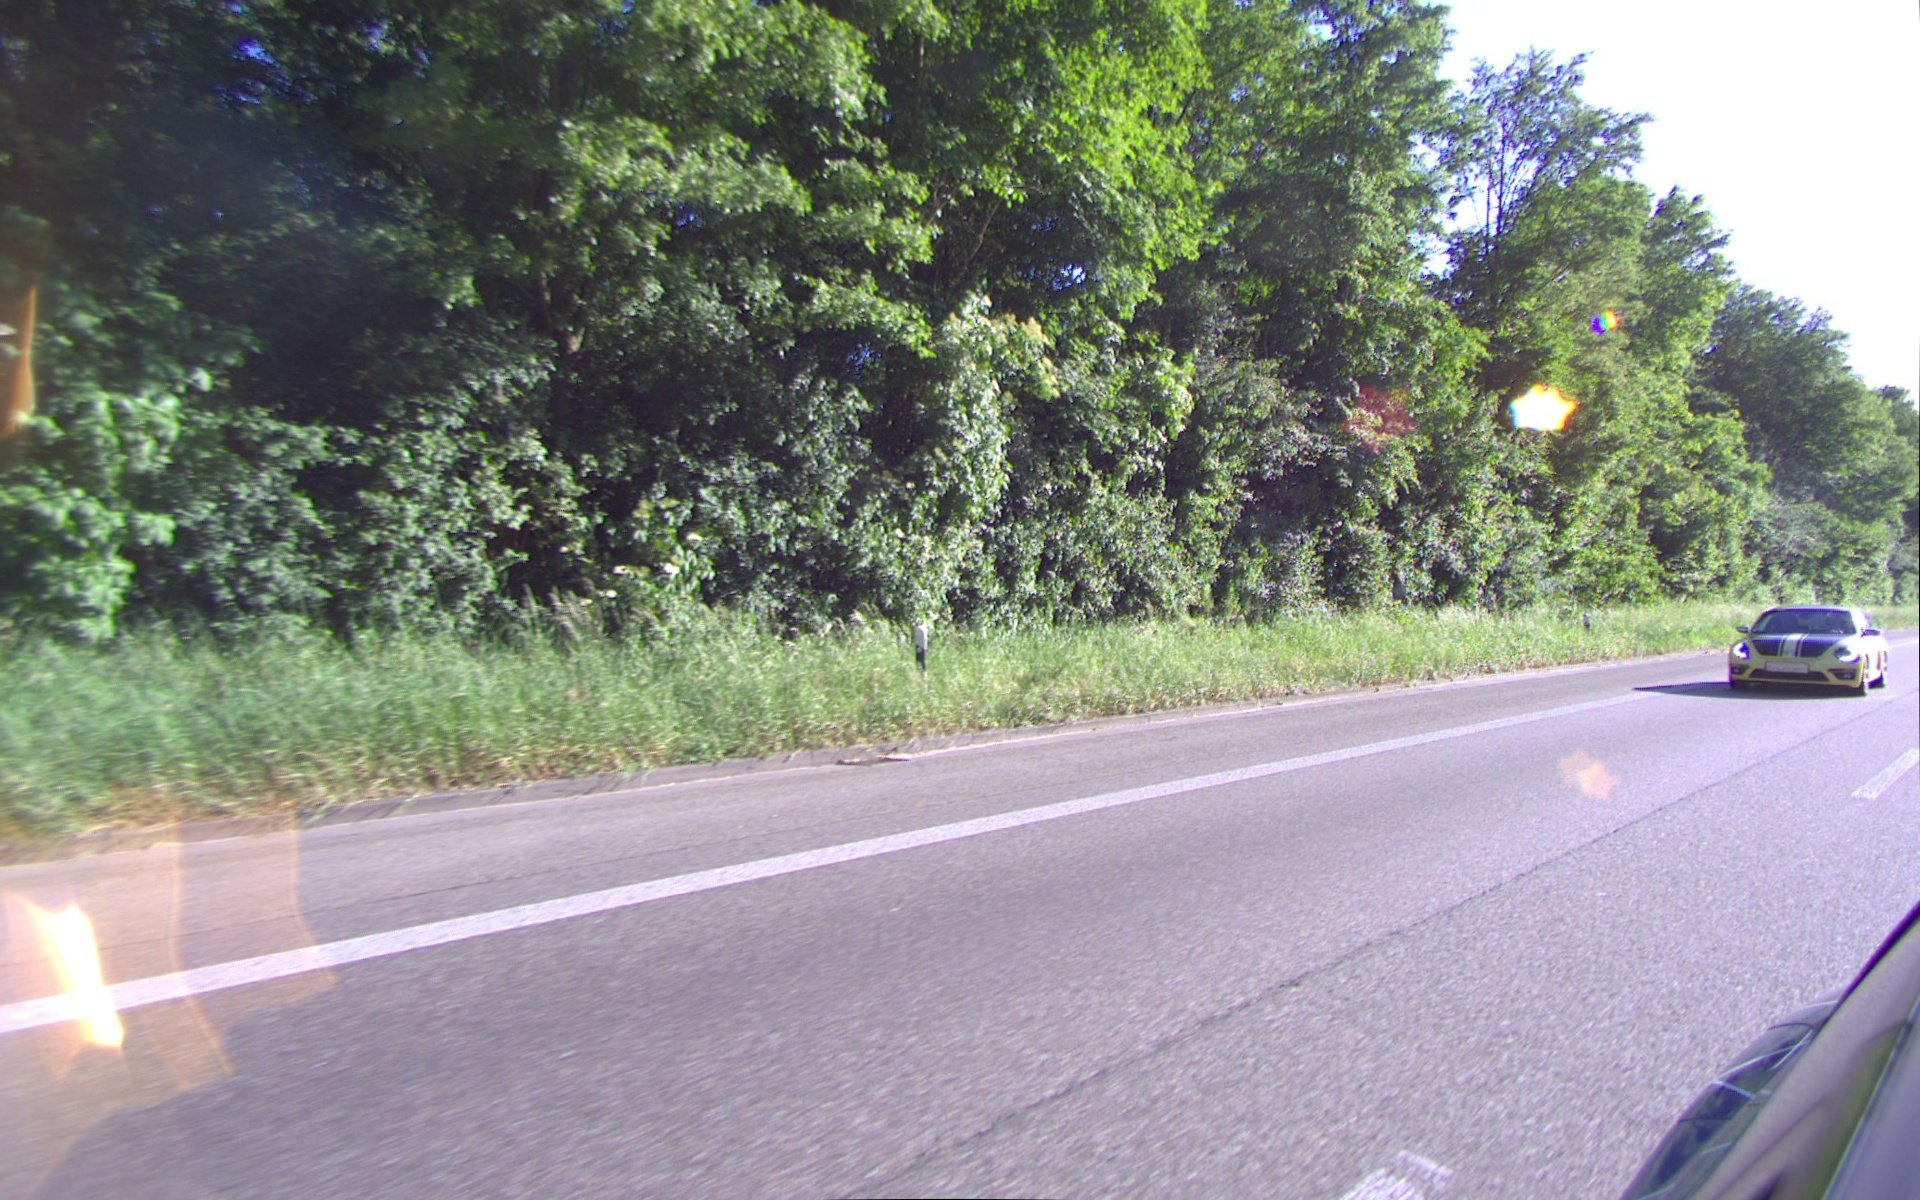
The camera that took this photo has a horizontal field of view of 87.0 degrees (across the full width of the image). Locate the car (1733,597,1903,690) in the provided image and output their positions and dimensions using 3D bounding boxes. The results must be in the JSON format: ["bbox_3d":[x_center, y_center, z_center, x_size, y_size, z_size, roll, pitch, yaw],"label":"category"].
[{"bbox_3d":[15.169,0.678,17.833,3.811,1.467,1.792,0,0,-42],"label":"car"}]
